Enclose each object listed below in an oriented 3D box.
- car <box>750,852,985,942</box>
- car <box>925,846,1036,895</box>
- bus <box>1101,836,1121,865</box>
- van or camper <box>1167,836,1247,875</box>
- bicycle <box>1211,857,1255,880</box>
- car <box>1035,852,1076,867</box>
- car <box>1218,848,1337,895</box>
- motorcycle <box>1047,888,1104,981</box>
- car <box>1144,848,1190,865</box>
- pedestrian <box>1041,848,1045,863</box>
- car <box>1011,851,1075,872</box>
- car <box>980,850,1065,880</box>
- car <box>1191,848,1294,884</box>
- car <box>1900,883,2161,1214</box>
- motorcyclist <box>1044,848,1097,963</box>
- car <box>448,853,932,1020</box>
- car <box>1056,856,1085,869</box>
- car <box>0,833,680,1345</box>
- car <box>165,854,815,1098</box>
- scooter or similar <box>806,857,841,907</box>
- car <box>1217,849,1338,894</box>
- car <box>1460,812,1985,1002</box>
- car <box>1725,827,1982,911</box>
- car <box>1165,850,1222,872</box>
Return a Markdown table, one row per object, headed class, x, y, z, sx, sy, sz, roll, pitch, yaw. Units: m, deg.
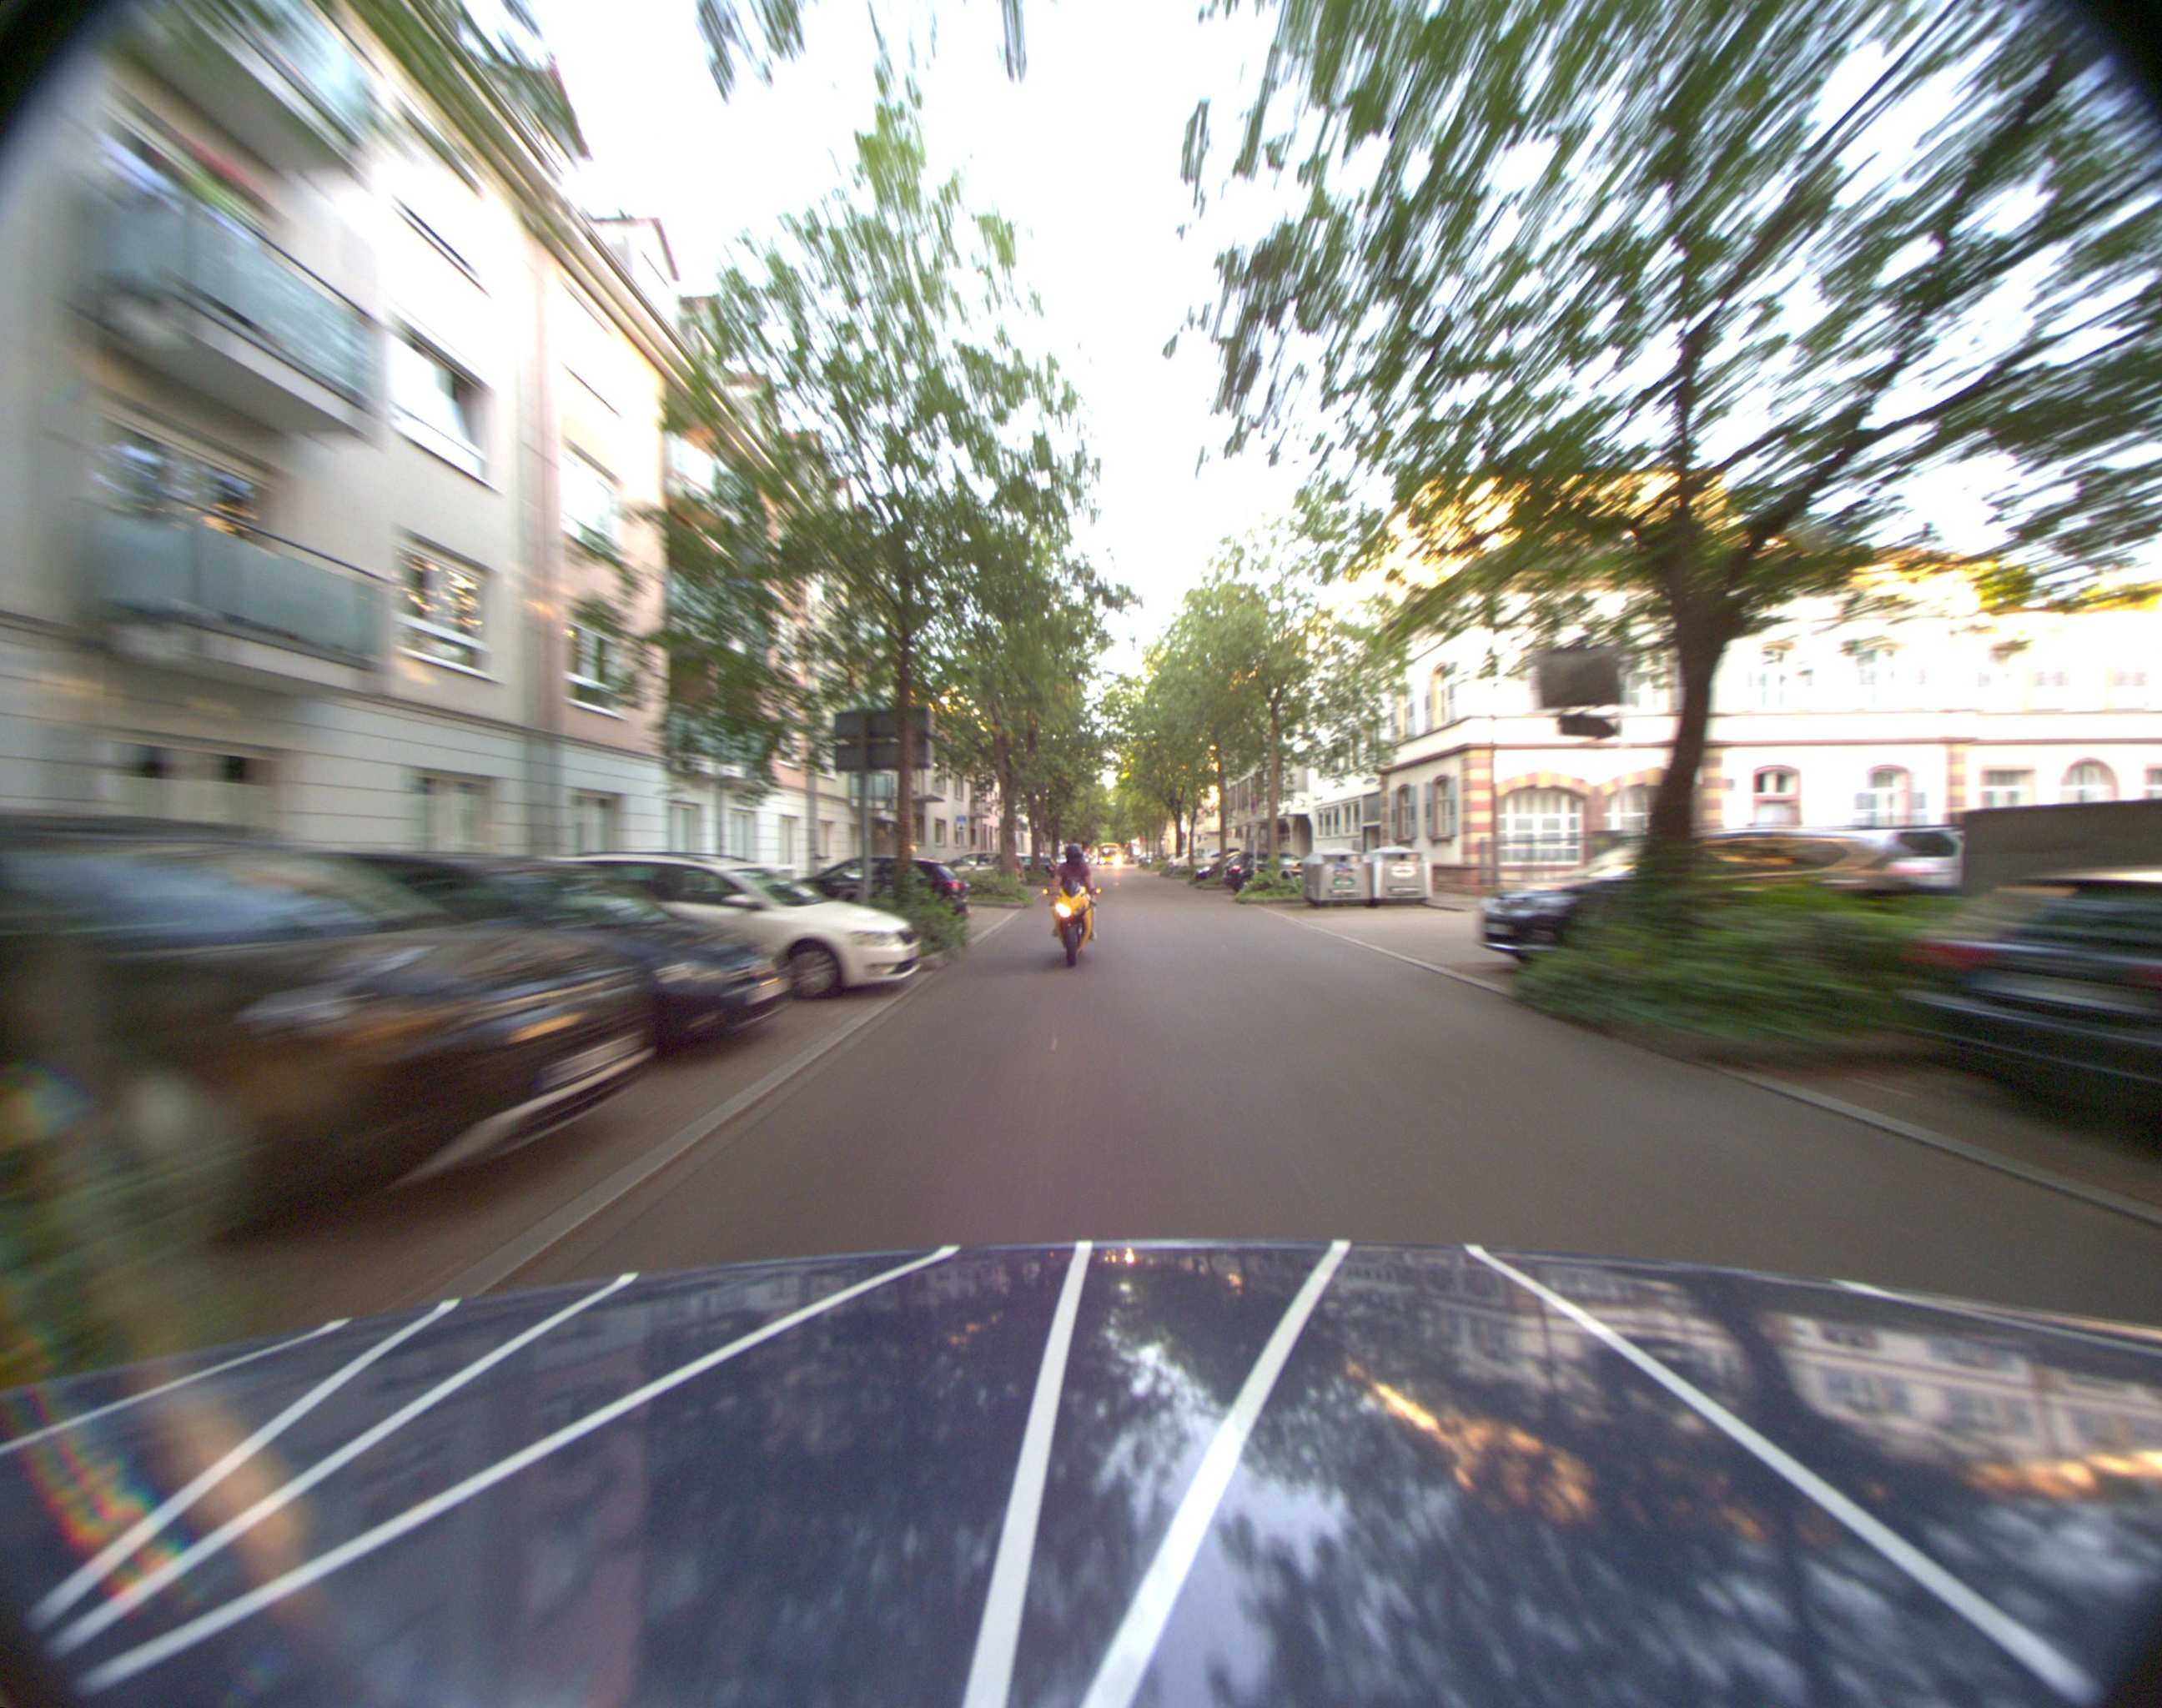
| class | x | y | z | sx | sy | sz | roll | pitch | yaw |
| --- | --- | --- | --- | --- | --- | --- | --- | --- | --- |
| car | -3.994 | 0.785 | 14.780 | 3.998 | 1.466 | 1.913 | 3 | 0 | -3 |
| car | -3.759 | 0.607 | 28.813 | 3.871 | 1.657 | 1.926 | 2 | 1 | 1 |
| bus | 4.386 | -0.452 | 111.506 | 2.833 | 4.086 | 7.832 | 0 | 0 | 2 |
| van or camper | 8.010 | 0.087 | 48.475 | 4.829 | 2.413 | 1.945 | 0 | 1 | 2 |
| bicycle | 6.836 | 0.665 | 34.158 | 1.906 | 1.019 | 0.479 | 0 | 1 | 0 |
| car | -2.385 | 0.507 | 71.155 | 3.859 | 1.390 | 1.674 | 1 | 0 | -2 |
| car | 7.259 | 0.631 | 28.336 | 3.997 | 1.582 | 1.789 | -1 | 0 | 1 |
| motorcycle | -0.090 | 1.116 | 11.140 | 0.736 | 1.115 | 2.108 | -1 | 0 | -1 |
| car | 8.757 | 0.266 | 77.504 | 4.475 | 1.748 | 1.791 | 0 | 0 | -2 |
| pedestrian | -4.931 | 0.235 | 99.561 | 0.449 | 2.002 | 0.485 | 0 | 1 | 2 |
| car | -2.828 | 0.546 | 56.990 | 4.594 | 1.461 | 1.696 | 1 | 1 | 3 |
| car | -3.216 | 0.568 | 41.912 | 4.366 | 1.461 | 1.732 | 2 | 1 | 6 |
| car | 7.676 | 0.561 | 36.317 | 4.547 | 1.673 | 1.621 | 0 | 0 | -2 |
| car | 6.612 | 0.896 | 3.767 | 3.413 | 1.434 | 1.594 | -1 | 1 | -1 |
| motorcyclist | -0.161 | 0.727 | 11.164 | 0.722 | 1.605 | 0.915 | -1 | 1 | -1 |
| car | -4.198 | 0.848 | 8.691 | 4.583 | 1.543 | 1.772 | 2 | 1 | 1 |
| car | -1.471 | 1.191 | 106.935 | 3.997 | 1.752 | 2.000 | 0 | 0 | -1 |
| car | -4.591 | 0.792 | 3.528 | 4.395 | 1.694 | 1.895 | 2 | 1 | -2 |
| car | -4.497 | 0.837 | 6.186 | 3.996 | 1.516 | 1.727 | 2 | 1 | 3 |
| scooter or similar | -6.582 | 0.695 | 19.465 | 0.400 | 1.233 | 1.253 | -1 | 1 | 1 |
| car | 7.254 | 0.628 | 28.305 | 3.997 | 1.579 | 1.828 | -1 | 0 | -1 |
| car | 7.174 | 0.553 | 8.908 | 4.429 | 1.881 | 2.000 | -1 | 0 | 1 |
| car | 18.606 | 0.242 | 18.677 | 1.786 | 1.796 | 4.461 | -1 | 2 | 1 |
| car | 8.366 | 0.495 | 56.651 | 4.062 | 1.519 | 1.622 | -1 | 0 | 5 |
